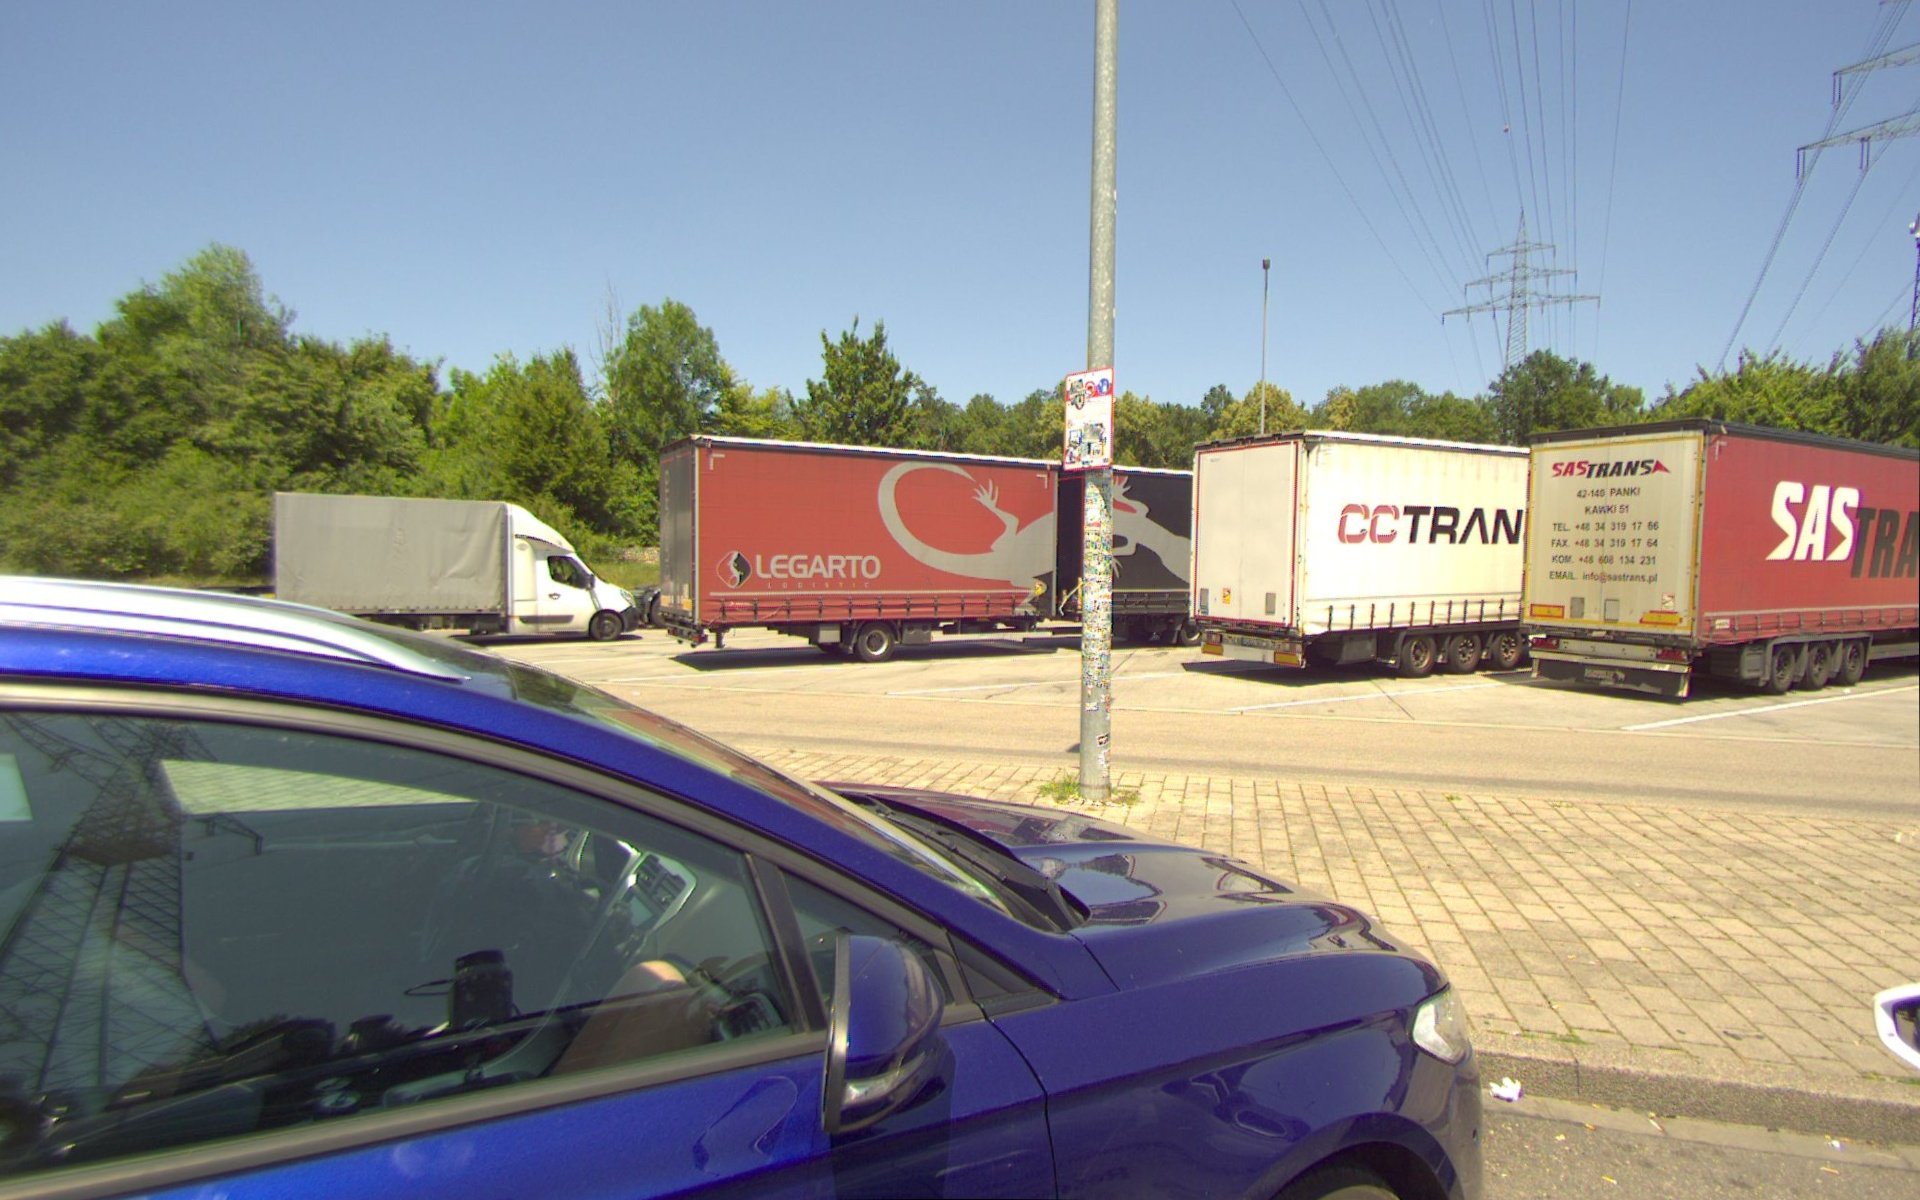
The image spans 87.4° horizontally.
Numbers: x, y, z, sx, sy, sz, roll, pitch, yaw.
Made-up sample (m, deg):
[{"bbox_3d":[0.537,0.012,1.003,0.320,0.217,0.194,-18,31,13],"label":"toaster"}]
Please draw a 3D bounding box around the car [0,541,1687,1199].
[{"bbox_3d":[-1.034,0.680,1.497,4.444,1.511,1.859,0,2,-32],"label":"car"}]

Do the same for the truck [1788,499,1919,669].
[{"bbox_3d":[21.213,-0.392,22.003,5.829,3.373,2.837,-1,3,-30],"label":"truck"}]

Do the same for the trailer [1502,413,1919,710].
[{"bbox_3d":[15.610,-0.691,18.727,13.962,4.141,2.777,-1,3,-30],"label":"trailer"}]

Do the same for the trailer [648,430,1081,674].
[{"bbox_3d":[-1.739,-0.900,20.332,8.376,4.141,2.722,-1,3,-30],"label":"trailer"}]

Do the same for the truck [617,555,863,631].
[{"bbox_3d":[-6.342,-0.231,29.278,6.733,2.041,1.987,-1,1,-26],"label":"truck"}]

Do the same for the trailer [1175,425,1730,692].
[{"bbox_3d":[10.590,-0.799,20.338,13.962,4.141,2.782,-1,3,-30],"label":"trailer"}]

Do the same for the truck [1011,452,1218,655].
[{"bbox_3d":[3.574,-1.066,23.452,3.947,4.298,2.723,-1,3,-30],"label":"truck"}]

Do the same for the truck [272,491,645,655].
[{"bbox_3d":[-11.185,-0.625,23.029,7.204,3.279,2.727,-1,3,-29],"label":"truck"}]

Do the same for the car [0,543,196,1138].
[{"bbox_3d":[-4.610,0.602,2.230,4.444,1.520,1.762,0,2,-32],"label":"car"}]

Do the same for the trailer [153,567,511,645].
[{"bbox_3d":[-15.160,0.055,24.898,7.204,1.711,2.249,-1,3,-29],"label":"trailer"}]
